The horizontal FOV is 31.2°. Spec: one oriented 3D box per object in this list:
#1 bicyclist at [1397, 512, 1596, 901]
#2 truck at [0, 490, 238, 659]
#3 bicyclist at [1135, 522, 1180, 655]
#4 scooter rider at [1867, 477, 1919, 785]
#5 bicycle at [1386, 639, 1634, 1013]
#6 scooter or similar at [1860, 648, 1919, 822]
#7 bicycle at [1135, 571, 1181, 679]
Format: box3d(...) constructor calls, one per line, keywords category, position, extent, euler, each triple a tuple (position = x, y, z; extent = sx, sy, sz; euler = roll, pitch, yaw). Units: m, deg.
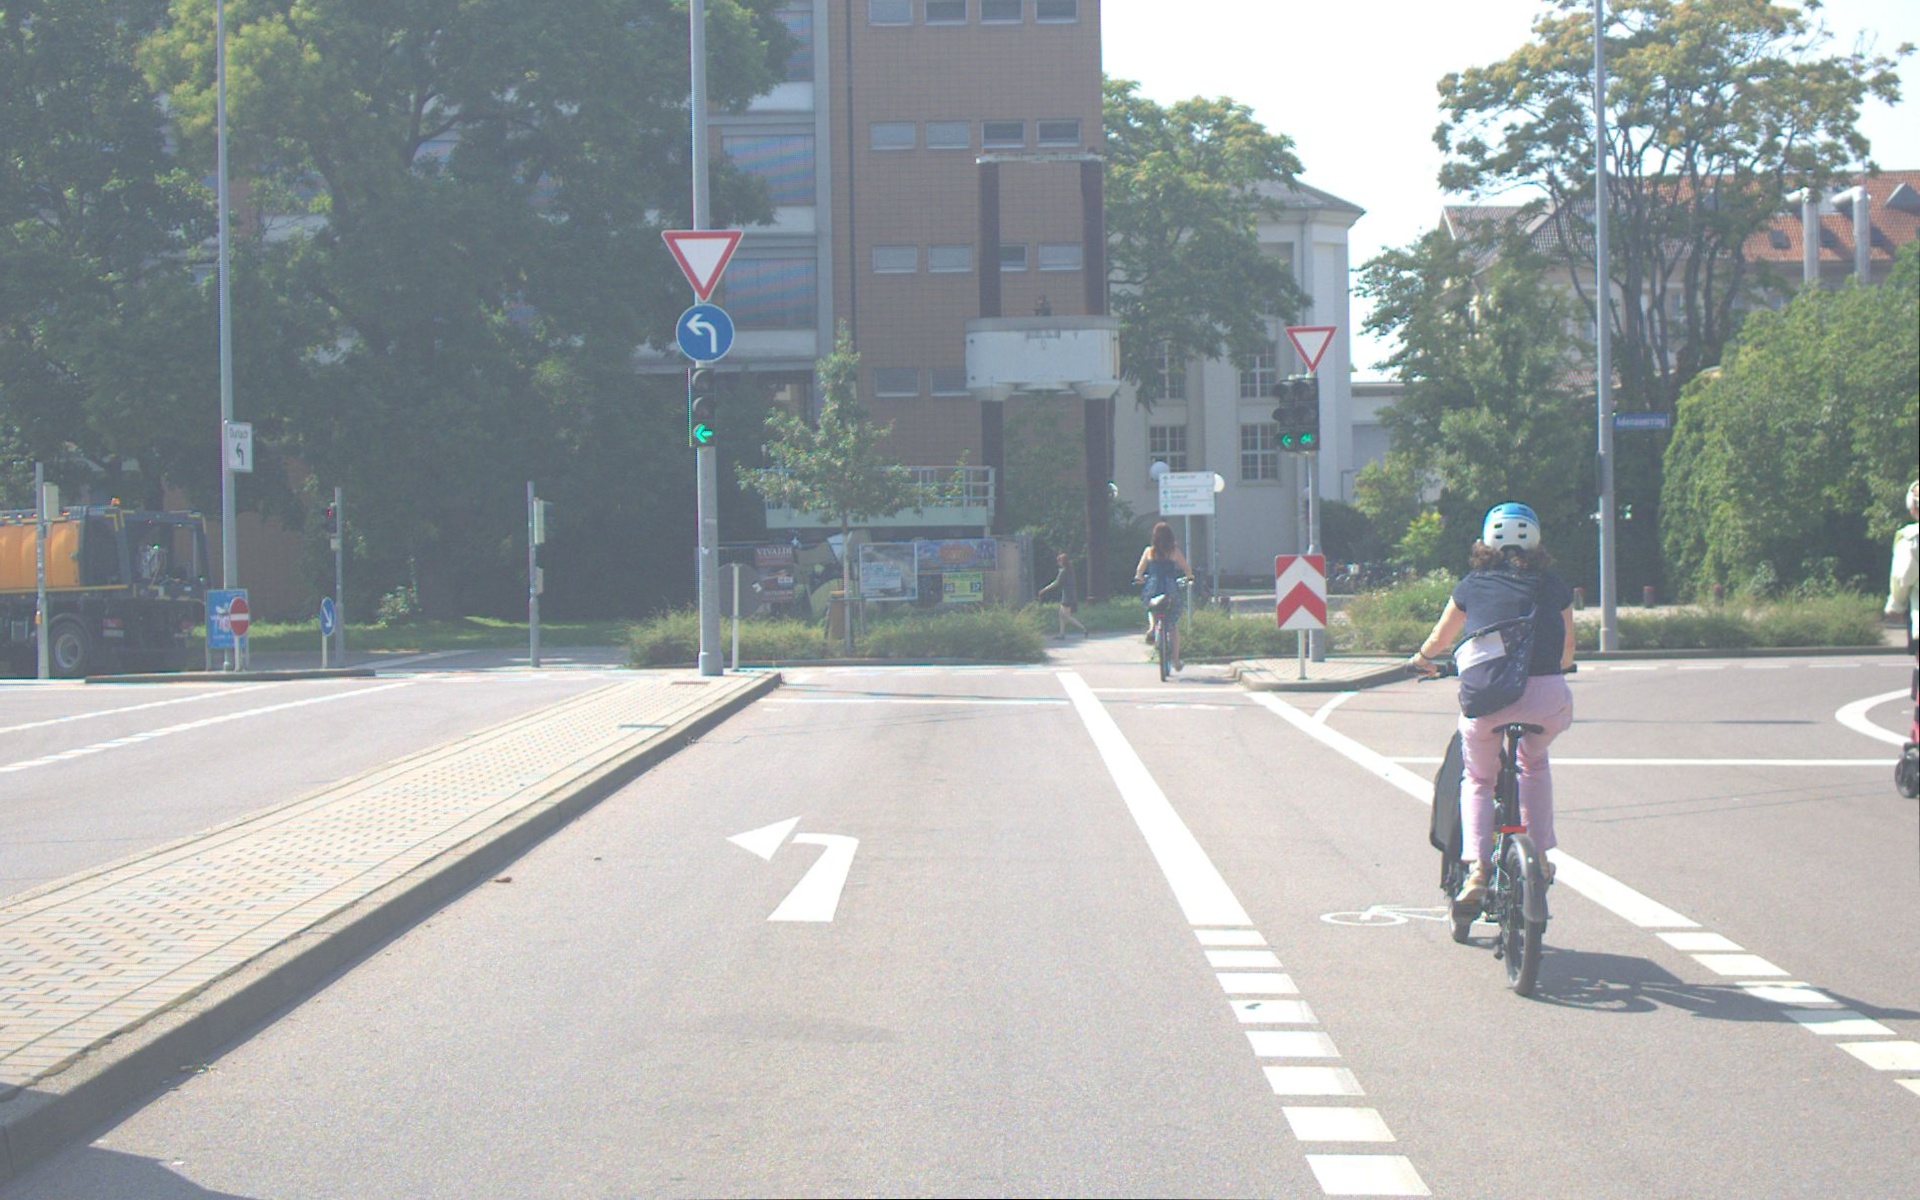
box3d(category="bicyclist", position=(1.886, 0.361, 12.154), extent=(0.603, 1.330, 0.660), euler=(-1, 1, 2))
box3d(category="truck", position=(-16.452, -0.461, 63.582), extent=(5.958, 2.979, 2.700), euler=(0, 0, 35))
box3d(category="bicyclist", position=(2.141, -0.128, 37.241), extent=(0.450, 1.416, 0.495), euler=(-1, 1, 5))
box3d(category="scooter rider", position=(5.707, 0.171, 20.008), extent=(0.762, 1.769, 0.555), euler=(-1, 1, 10))
box3d(category="bicycle", position=(1.907, 0.748, 12.123), extent=(0.604, 1.159, 1.810), euler=(-1, 1, 1))
box3d(category="scooter or similar", position=(5.710, 0.766, 19.991), extent=(0.772, 0.923, 1.620), euler=(0, 1, 9))
box3d(category="bicycle", position=(2.136, 0.262, 37.071), extent=(0.444, 1.113, 1.446), euler=(-1, 1, 4))
